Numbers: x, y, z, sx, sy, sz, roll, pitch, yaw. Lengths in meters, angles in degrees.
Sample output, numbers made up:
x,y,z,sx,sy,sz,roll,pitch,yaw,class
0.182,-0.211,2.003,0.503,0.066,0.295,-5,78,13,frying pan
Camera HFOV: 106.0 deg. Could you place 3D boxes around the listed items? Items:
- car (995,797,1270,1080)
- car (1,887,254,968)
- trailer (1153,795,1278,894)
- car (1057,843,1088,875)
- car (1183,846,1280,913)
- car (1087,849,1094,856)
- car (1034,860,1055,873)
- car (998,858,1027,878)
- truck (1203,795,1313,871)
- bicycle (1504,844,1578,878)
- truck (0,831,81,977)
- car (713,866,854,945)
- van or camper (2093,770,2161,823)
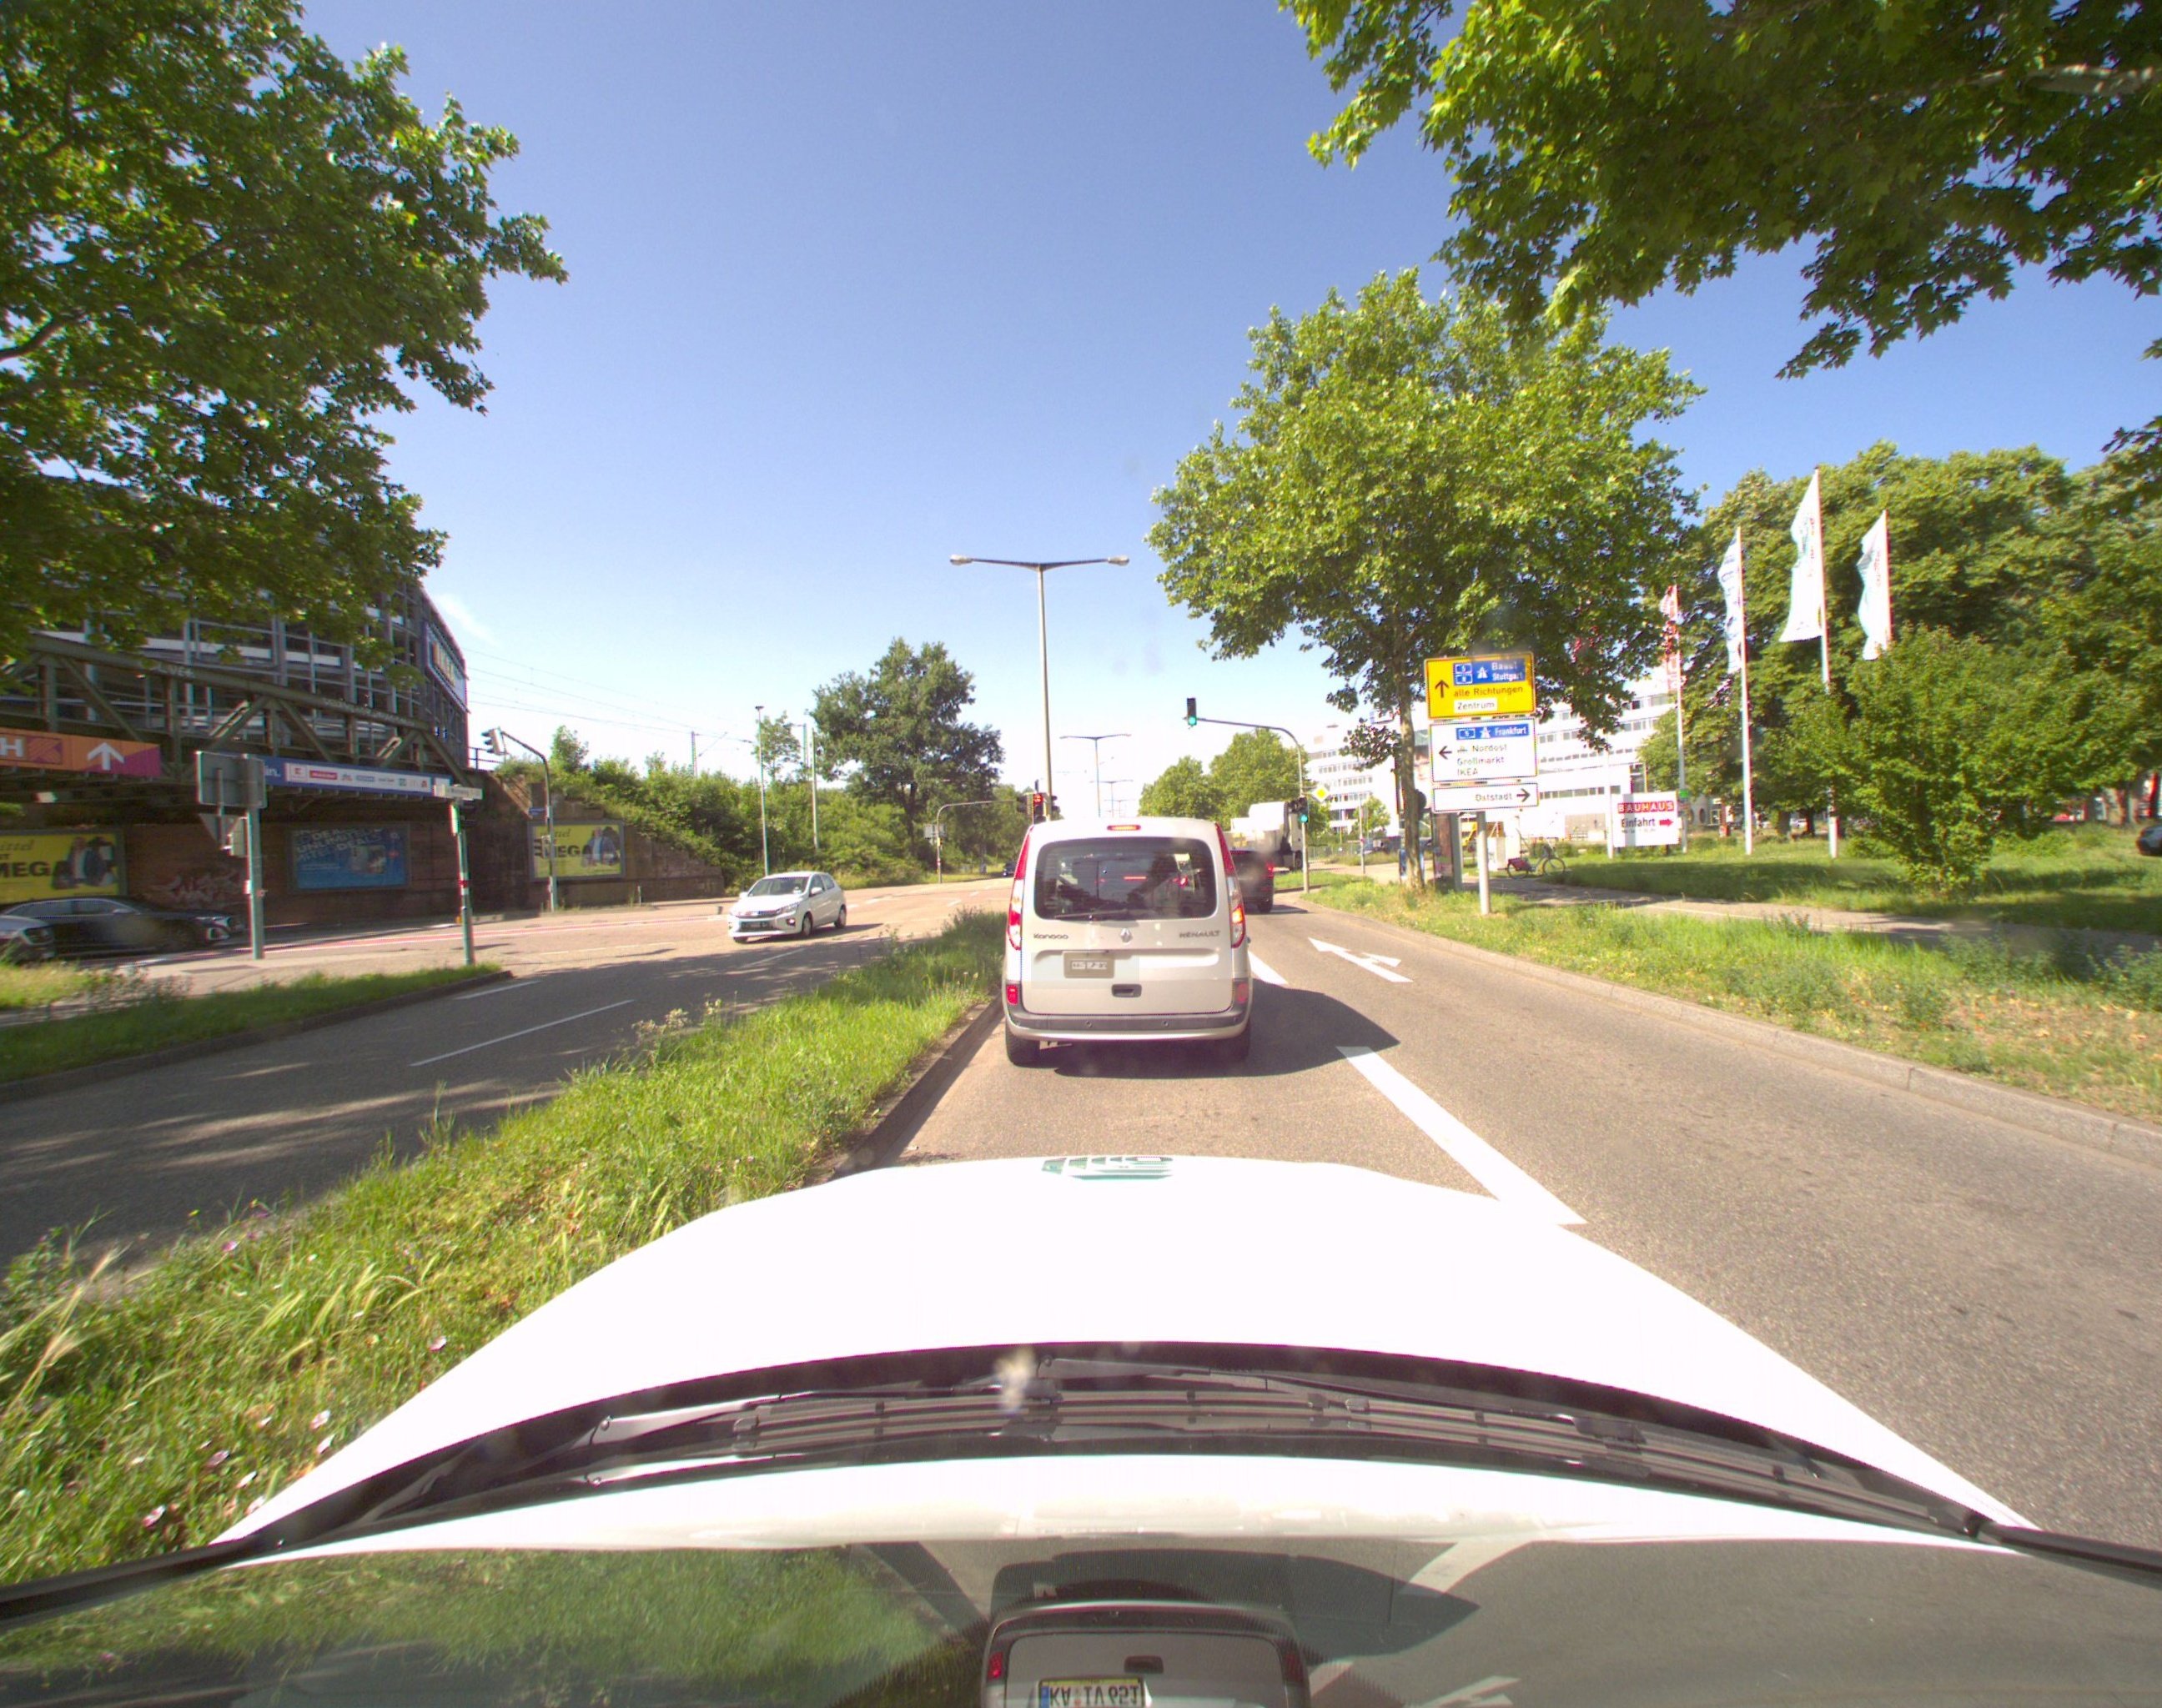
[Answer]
x,y,z,sx,sy,sz,roll,pitch,yaw,class
0.396,0.565,7.310,1.779,1.838,4.001,0,-1,2,car
-25.763,1.918,22.258,4.015,1.646,1.885,-4,1,-32,car
6.428,-0.317,36.382,2.875,3.622,12.752,-1,-1,22,trailer
-0.682,0.434,69.822,1.984,2.607,5.140,-3,-1,5,car
3.842,0.620,21.527,1.868,1.591,4.435,0,0,2,car
2.799,-0.354,250.779,1.880,2.014,4.004,0,-1,4,car
-4.339,1.477,97.237,1.984,1.540,4.241,-3,-1,5,car
-6.195,1.269,73.911,1.902,1.641,3.742,-3,-1,5,car
9.494,-0.996,43.016,2.882,3.643,7.235,-1,-1,37,truck
15.079,0.229,26.742,1.985,1.014,0.624,-3,0,18,bicycle
-26.321,1.272,16.670,6.890,3.105,2.196,-4,1,-32,truck
-6.862,1.126,19.260,1.693,1.508,4.002,-2,0,2,car
63.648,-3.391,46.477,2.007,2.942,7.213,0,-1,-32,van or camper
